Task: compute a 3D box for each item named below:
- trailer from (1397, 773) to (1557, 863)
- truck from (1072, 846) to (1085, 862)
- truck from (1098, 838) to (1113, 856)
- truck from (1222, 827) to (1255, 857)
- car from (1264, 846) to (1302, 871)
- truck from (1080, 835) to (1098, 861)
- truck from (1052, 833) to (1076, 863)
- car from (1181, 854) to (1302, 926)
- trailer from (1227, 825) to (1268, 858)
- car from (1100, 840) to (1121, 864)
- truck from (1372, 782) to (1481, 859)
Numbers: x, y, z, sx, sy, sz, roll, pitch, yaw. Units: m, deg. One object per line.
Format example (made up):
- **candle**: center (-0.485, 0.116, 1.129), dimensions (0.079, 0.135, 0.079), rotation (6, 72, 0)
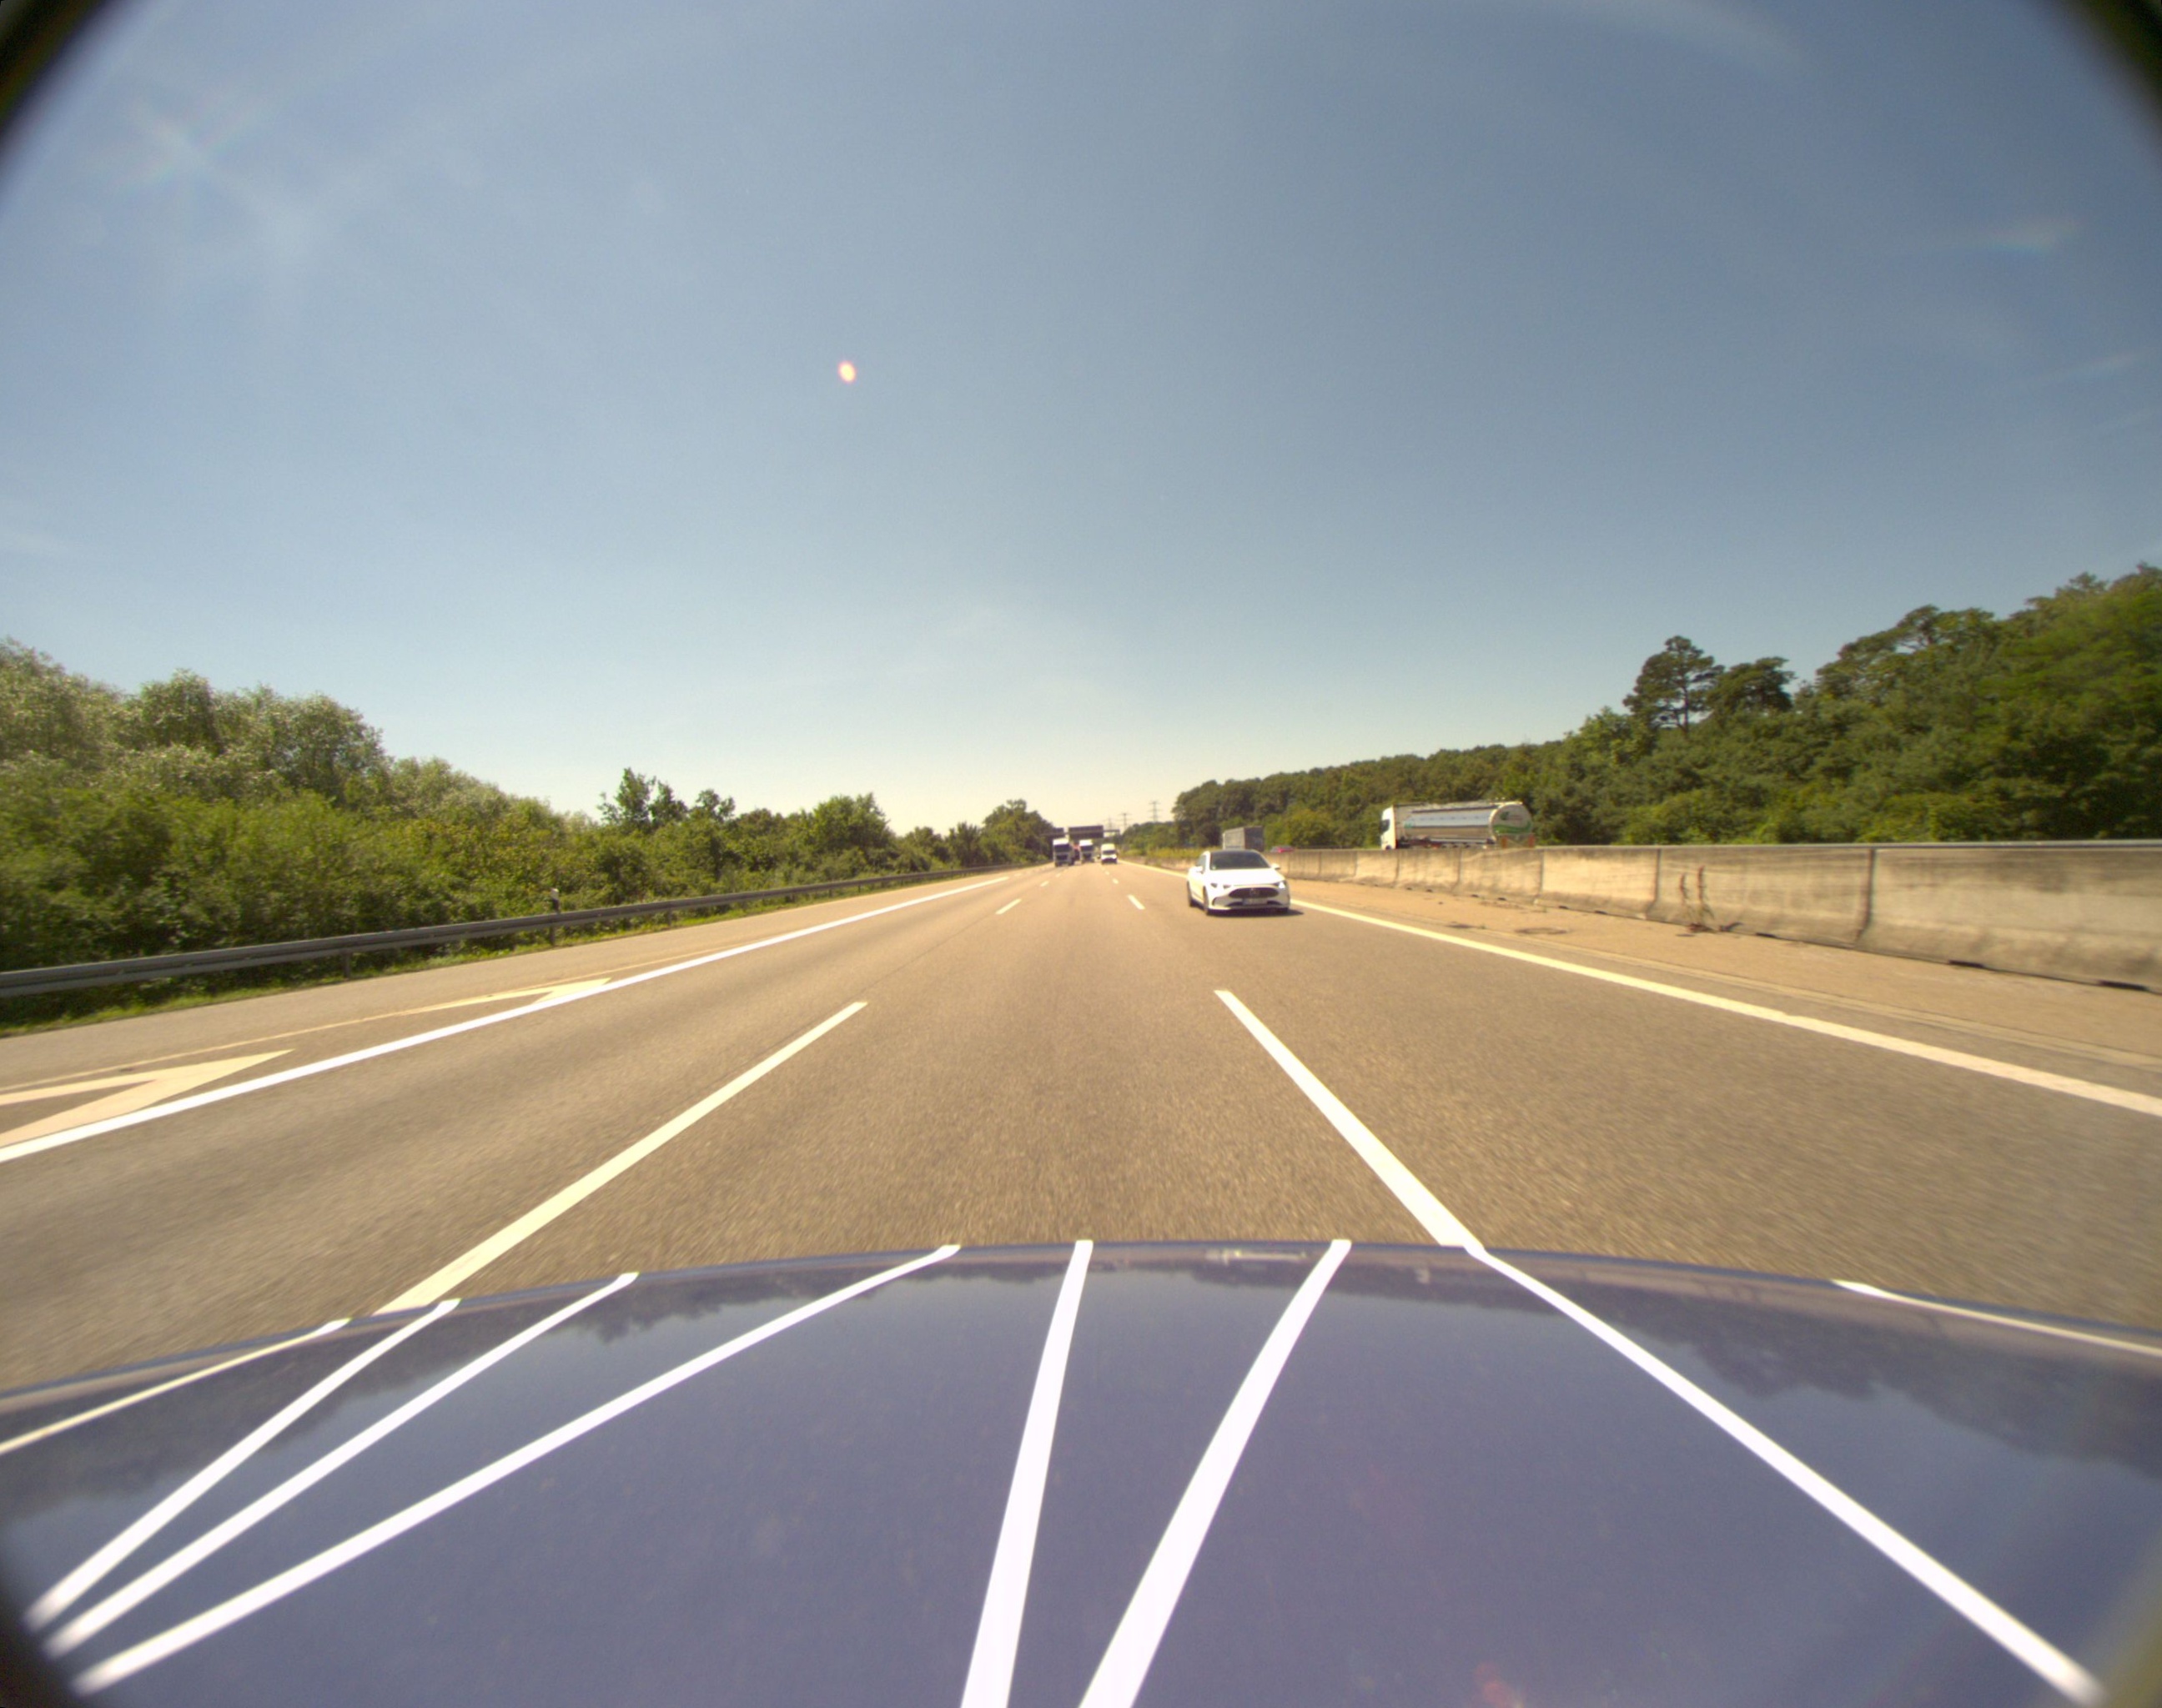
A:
- **trailer**: center (20.967, -1.725, 41.251), dimensions (2.814, 4.024, 10.429), rotation (-6, 0, 0)
- **truck**: center (-0.675, -0.046, 194.511), dimensions (2.852, 3.747, 6.495), rotation (-6, 0, 1)
- **truck**: center (6.151, -1.712, 192.743), dimensions (3.333, 4.351, 8.502), rotation (-5, 0, 2)
- **truck**: center (22.793, -1.671, 110.334), dimensions (2.992, 4.052, 8.193), rotation (-3, 0, 1)
- **car**: center (17.473, 0.339, 66.021), dimensions (1.999, 2.002, 4.575), rotation (-3, 0, 0)
- **truck**: center (1.458, -1.023, 136.483), dimensions (2.700, 4.231, 8.244), rotation (-6, 0, 2)
- **truck**: center (-2.504, -0.926, 115.599), dimensions (2.990, 4.187, 7.593), rotation (-3, 0, 2)
- **car**: center (3.650, 0.741, 18.217), dimensions (1.771, 1.440, 5.108), rotation (-2, 0, 0)
- **trailer**: center (22.666, -1.631, 104.163), dimensions (2.992, 4.052, 11.774), rotation (-3, 0, 1)
- **car**: center (4.016, -0.267, 103.357), dimensions (2.521, 2.857, 6.400), rotation (-6, 0, 2)
- **truck**: center (20.907, -1.898, 46.600), dimensions (2.814, 4.024, 7.729), rotation (-6, 0, 0)
